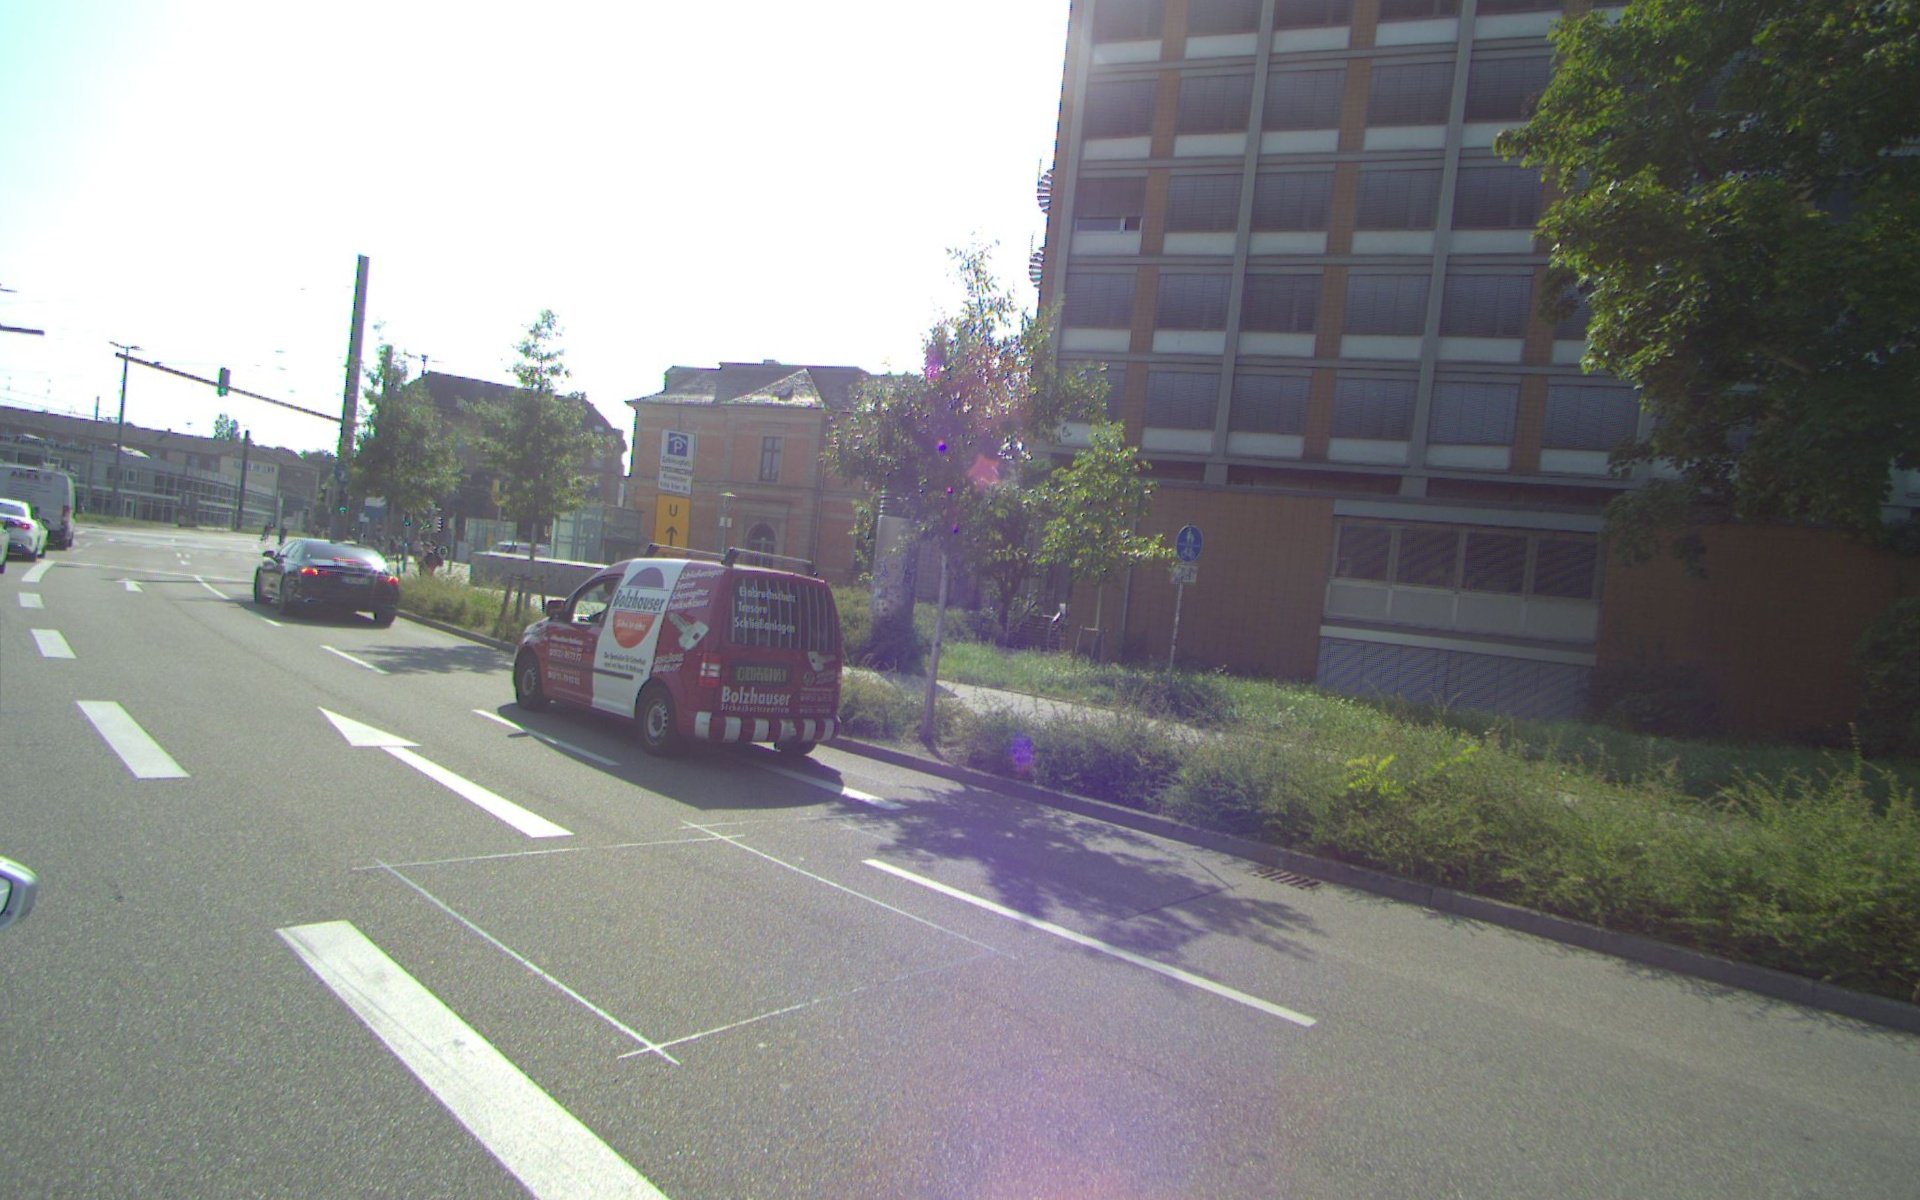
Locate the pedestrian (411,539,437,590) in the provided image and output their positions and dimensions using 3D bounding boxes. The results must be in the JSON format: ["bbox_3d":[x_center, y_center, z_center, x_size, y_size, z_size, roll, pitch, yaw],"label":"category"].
[{"bbox_3d":[-18.093,-1.192,33.979,0.608,1.659,0.530,6,1,-25],"label":"pedestrian"}]

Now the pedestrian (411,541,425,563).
[{"bbox_3d":[-36.099,-3.214,67.004,0.652,1.378,0.654,7,2,-28],"label":"pedestrian"}]

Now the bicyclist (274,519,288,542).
[{"bbox_3d":[-49.701,-5.081,73.661,0.707,1.549,0.800,6,1,-32],"label":"bicyclist"}]

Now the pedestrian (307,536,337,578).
[{"bbox_3d":[-22.027,-1.481,34.751,0.625,1.379,0.635,7,1,41],"label":"pedestrian"}]

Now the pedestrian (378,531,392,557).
[{"bbox_3d":[-45.675,-4.458,79.857,0.798,1.913,0.742,5,1,-32],"label":"pedestrian"}]

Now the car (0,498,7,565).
[{"bbox_3d":[-17.875,-1.188,17.538,1.680,1.404,3.589,7,-1,-45],"label":"car"}]

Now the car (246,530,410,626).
[{"bbox_3d":[-12.724,-0.488,20.111,1.814,1.457,4.815,7,-1,-43],"label":"car"}]

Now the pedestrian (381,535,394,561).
[{"bbox_3d":[-47.481,-4.322,83.446,0.741,2.039,0.800,5,1,-32],"label":"pedestrian"}]

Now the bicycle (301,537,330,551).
[{"bbox_3d":[-51.407,-4.448,80.250,1.783,0.896,0.756,6,0,-29],"label":"bicycle"}]

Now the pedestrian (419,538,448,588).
[{"bbox_3d":[-18.302,-1.281,34.959,0.525,1.649,0.614,7,1,36],"label":"pedestrian"}]

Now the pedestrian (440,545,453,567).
[{"bbox_3d":[-34.573,-2.955,67.751,0.652,1.378,0.654,7,2,-28],"label":"pedestrian"}]

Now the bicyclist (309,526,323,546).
[{"bbox_3d":[-51.363,-5.080,80.221,0.797,1.517,0.743,6,1,-29],"label":"bicyclist"}]

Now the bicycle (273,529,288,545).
[{"bbox_3d":[-49.722,-4.616,73.632,0.701,1.074,1.966,6,0,-31],"label":"bicycle"}]

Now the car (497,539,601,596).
[{"bbox_3d":[-18.312,-1.420,44.973,1.722,2.039,3.995,9,1,26],"label":"car"}]

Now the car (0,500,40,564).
[{"bbox_3d":[-23.779,-1.759,24.730,1.485,1.420,3.893,7,-1,-44],"label":"car"}]

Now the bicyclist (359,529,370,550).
[{"bbox_3d":[-54.700,-5.536,92.381,0.741,1.852,0.800,5,1,-32],"label":"bicyclist"}]

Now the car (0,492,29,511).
[{"bbox_3d":[-74.977,-7.787,78.738,1.877,1.296,4.107,6,0,-25],"label":"car"}]

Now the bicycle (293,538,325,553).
[{"bbox_3d":[-51.133,-4.256,79.027,2.035,0.905,0.741,6,0,-29],"label":"bicycle"}]

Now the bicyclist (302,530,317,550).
[{"bbox_3d":[-51.079,-4.732,79.027,0.797,1.479,0.743,6,1,-29],"label":"bicyclist"}]

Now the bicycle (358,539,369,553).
[{"bbox_3d":[-54.776,-4.951,92.417,0.734,1.233,2.227,6,1,-31],"label":"bicycle"}]

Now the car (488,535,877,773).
[{"bbox_3d":[-3.008,0.435,10.362,4.219,1.841,1.729,6,-1,42],"label":"car"}]

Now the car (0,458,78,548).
[{"bbox_3d":[-30.985,-3.201,33.513,2.181,2.580,4.628,6,-1,-42],"label":"car"}]
